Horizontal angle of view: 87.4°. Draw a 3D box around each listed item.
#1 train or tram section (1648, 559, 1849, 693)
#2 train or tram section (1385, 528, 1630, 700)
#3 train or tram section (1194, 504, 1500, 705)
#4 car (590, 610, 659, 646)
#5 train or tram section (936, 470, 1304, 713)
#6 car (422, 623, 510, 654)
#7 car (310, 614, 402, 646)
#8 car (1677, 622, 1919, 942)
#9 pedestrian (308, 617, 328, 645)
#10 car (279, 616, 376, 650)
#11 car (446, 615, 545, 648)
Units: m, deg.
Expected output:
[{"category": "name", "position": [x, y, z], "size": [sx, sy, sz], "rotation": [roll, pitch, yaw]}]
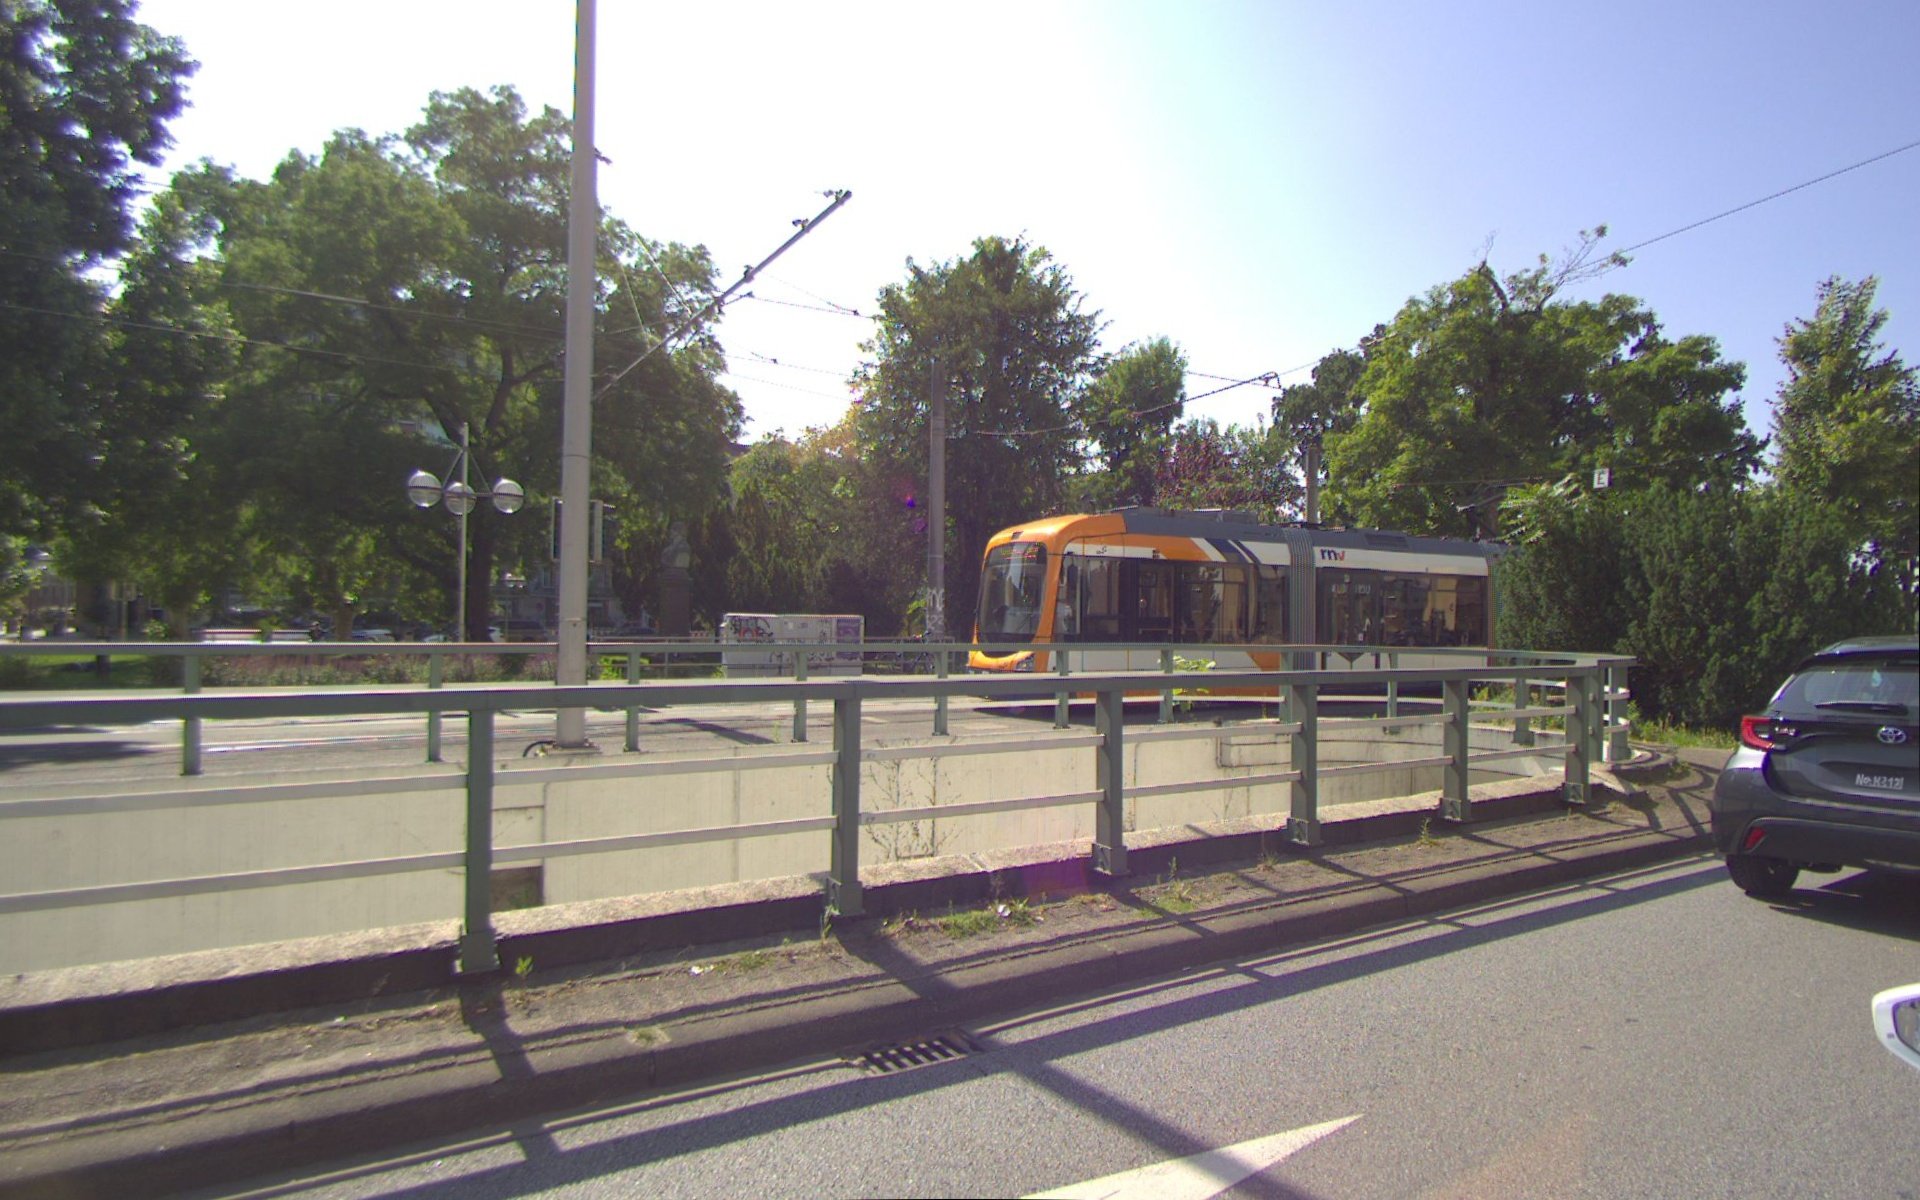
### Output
[{"category": "train or tram section", "position": [23.568, 0.774, 29.983], "size": [5.947, 3.629, 2.600], "rotation": [2, 1, -30]}, {"category": "train or tram section", "position": [12.909, 0.348, 23.639], "size": [5.295, 3.629, 2.600], "rotation": [2, 1, -30]}, {"category": "train or tram section", "position": [8.050, 0.154, 20.746], "size": [6.032, 3.629, 2.600], "rotation": [2, 1, -30]}, {"category": "car", "position": [-20.478, 1.699, 61.282], "size": [3.601, 2.040, 1.984], "rotation": [2, 1, -30]}, {"category": "train or tram section", "position": [2.887, -0.063, 17.683], "size": [6.032, 3.629, 2.601], "rotation": [2, 1, -30]}, {"category": "car", "position": [-26.278, 2.044, 53.439], "size": [3.962, 1.528, 1.743], "rotation": [2, 1, -36]}, {"category": "car", "position": [-31.580, 1.587, 52.568], "size": [3.962, 1.528, 1.743], "rotation": [2, 1, -36]}, {"category": "car", "position": [6.154, 0.925, 5.804], "size": [3.951, 1.494, 1.770], "rotation": [2, -2, -29]}, {"category": "pedestrian", "position": [-29.474, 1.429, 46.123], "size": [0.655, 1.279, 0.744], "rotation": [2, -3, -42]}, {"category": "car", "position": [-31.310, 1.623, 49.734], "size": [3.962, 1.528, 1.743], "rotation": [2, 1, -36]}, {"category": "car", "position": [-26.033, 1.794, 56.348], "size": [4.797, 1.685, 1.743], "rotation": [2, 1, -36]}]
